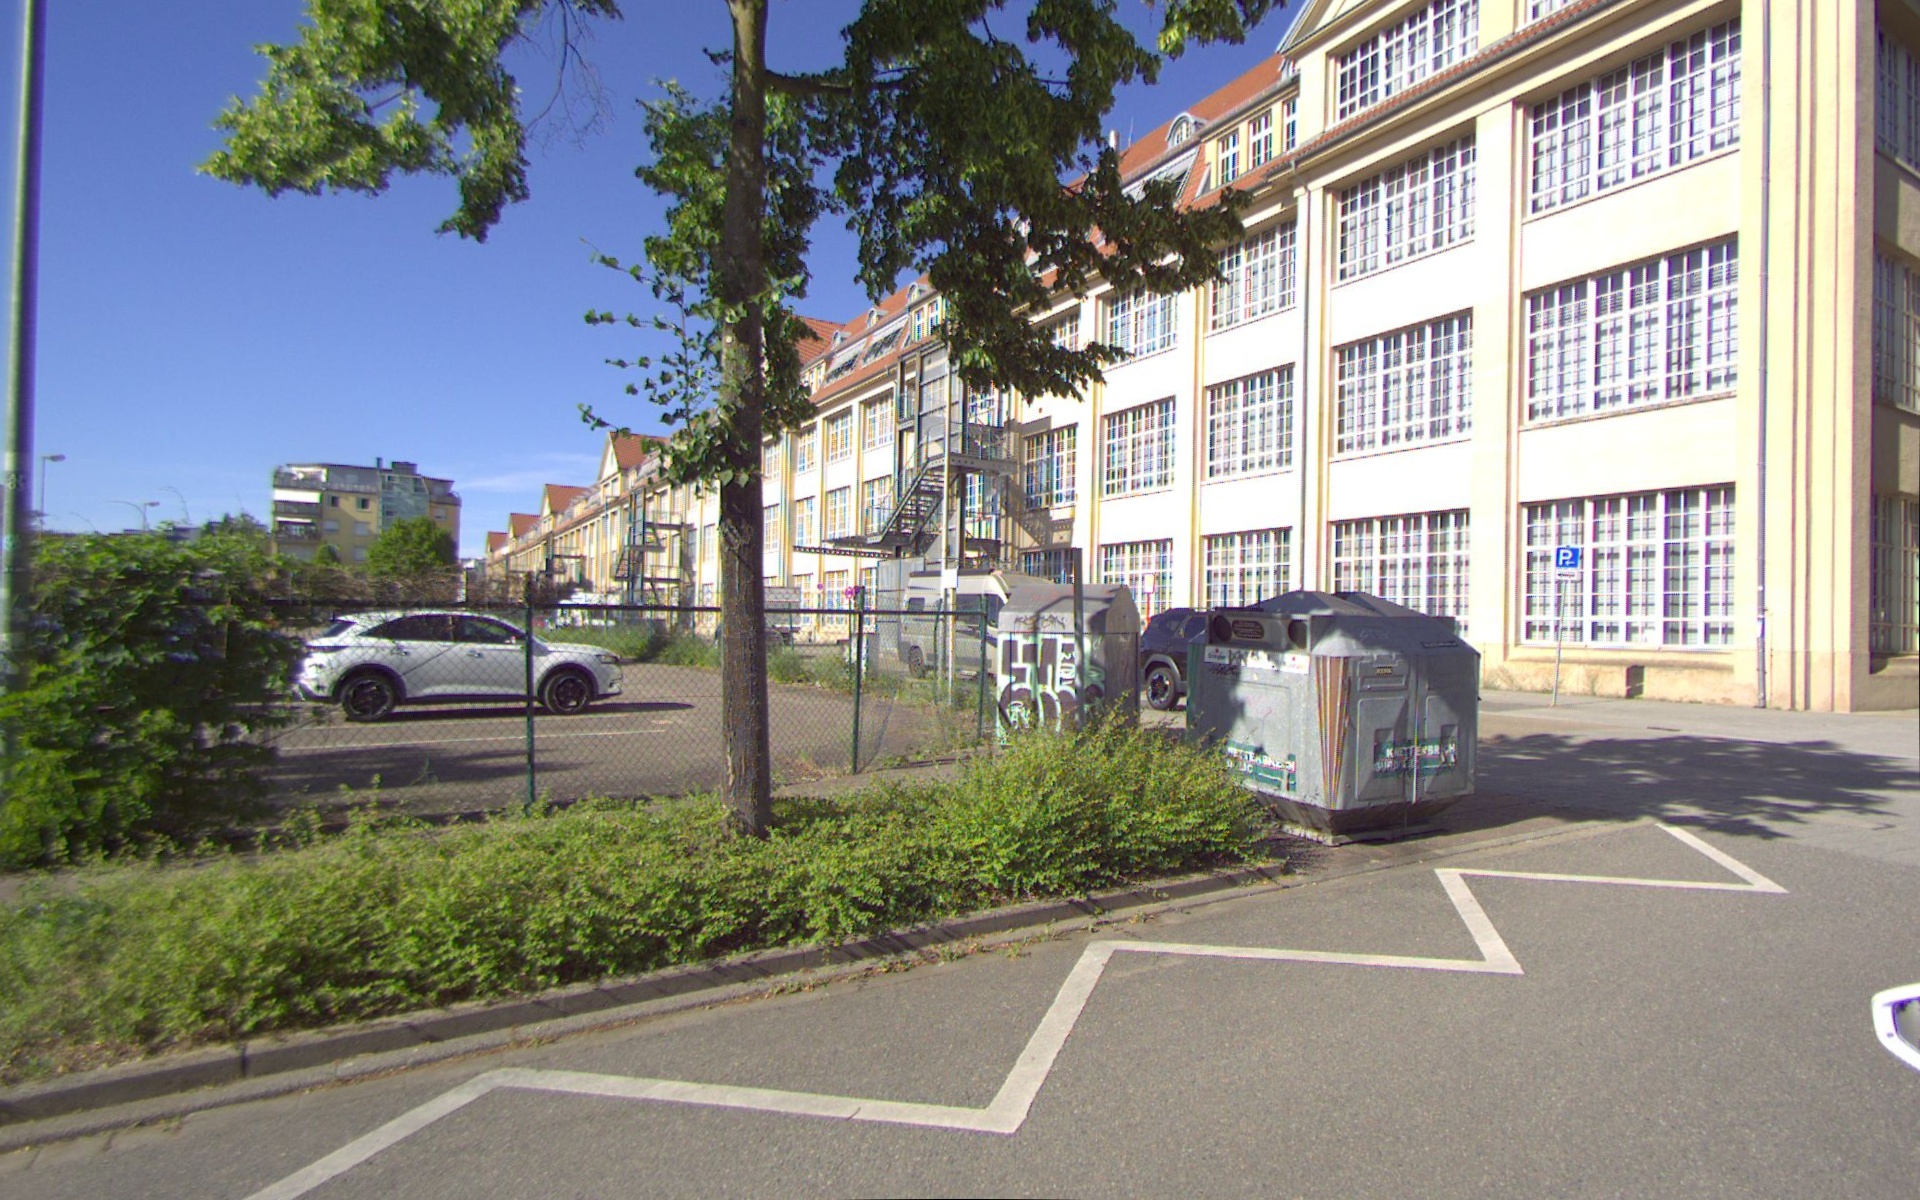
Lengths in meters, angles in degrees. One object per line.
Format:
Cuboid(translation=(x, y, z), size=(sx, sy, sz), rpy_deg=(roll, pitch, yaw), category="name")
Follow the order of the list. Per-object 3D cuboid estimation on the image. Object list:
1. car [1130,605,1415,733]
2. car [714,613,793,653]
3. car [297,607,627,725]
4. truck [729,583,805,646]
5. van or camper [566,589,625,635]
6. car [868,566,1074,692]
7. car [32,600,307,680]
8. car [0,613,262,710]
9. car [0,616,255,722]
Cuboid(translation=(4.740, 0.997, 15.825), size=(1.975, 1.718, 4.073), rpy_deg=(3, -2, -28), category="car")
Cuboid(translation=(-8.062, 1.250, 38.964), size=(1.829, 1.444, 4.192), rpy_deg=(2, -2, -29), category="car")
Cuboid(translation=(-7.703, 0.988, 15.861), size=(4.370, 1.631, 1.986), rpy_deg=(2, -1, -28), category="car")
Cuboid(translation=(-11.617, 0.846, 59.896), size=(2.469, 3.476, 7.077), rpy_deg=(3, -1, -27), category="truck")
Cuboid(translation=(-24.563, 0.828, 67.577), size=(2.693, 2.895, 5.091), rpy_deg=(3, -1, -31), category="van or camper")
Cuboid(translation=(0.042, 0.691, 24.262), size=(2.139, 2.631, 6.236), rpy_deg=(2, -2, -29), category="car")
Cuboid(translation=(-16.866, 0.856, 21.754), size=(4.319, 1.580, 1.959), rpy_deg=(2, -1, -28), category="car")
Cuboid(translation=(-14.753, 1.019, 17.205), size=(4.319, 1.514, 1.959), rpy_deg=(2, -1, -28), category="car")
Cuboid(translation=(-13.485, 1.009, 15.213), size=(4.319, 1.475, 1.959), rpy_deg=(2, -1, -28), category="car")
